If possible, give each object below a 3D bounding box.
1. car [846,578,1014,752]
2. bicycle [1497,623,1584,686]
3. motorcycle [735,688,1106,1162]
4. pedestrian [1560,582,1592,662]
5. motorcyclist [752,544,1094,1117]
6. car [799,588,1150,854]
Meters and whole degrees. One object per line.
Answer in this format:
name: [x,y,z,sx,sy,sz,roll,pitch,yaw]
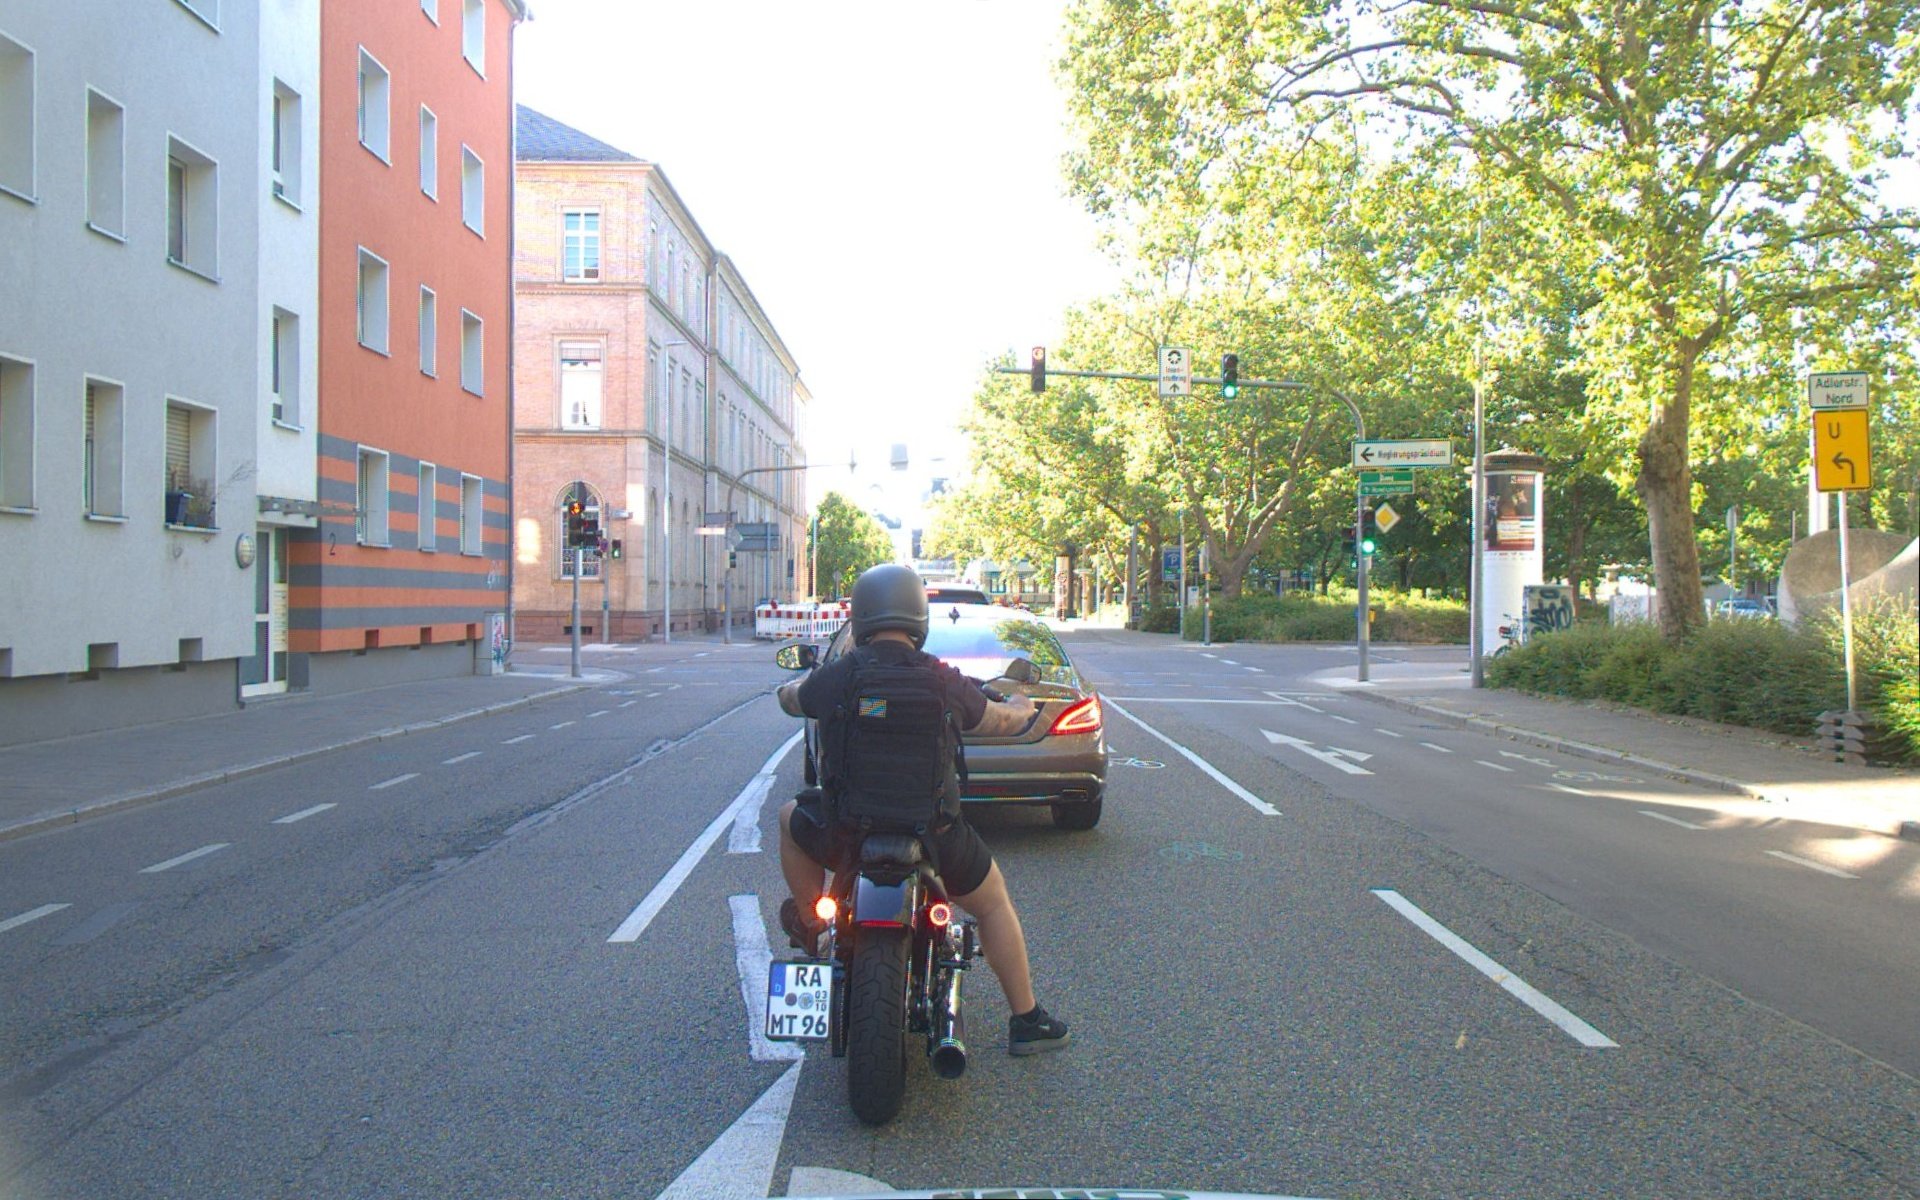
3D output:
car: [-0.337,0.606,17.765,1.580,1.636,4.327,0,0,-2]
bicycle: [9.747,0.909,27.774,1.324,1.041,0.363,0,0,0]
motorcycle: [-0.119,0.915,5.561,0.969,1.097,2.451,0,0,-1]
pedestrian: [14.550,0.514,39.077,0.540,1.881,0.593,0,0,0]
motorcyclist: [-0.114,0.652,5.407,0.969,1.625,1.403,0,0,-1]
car: [-0.114,0.672,11.601,1.909,1.498,4.355,0,0,-7]
